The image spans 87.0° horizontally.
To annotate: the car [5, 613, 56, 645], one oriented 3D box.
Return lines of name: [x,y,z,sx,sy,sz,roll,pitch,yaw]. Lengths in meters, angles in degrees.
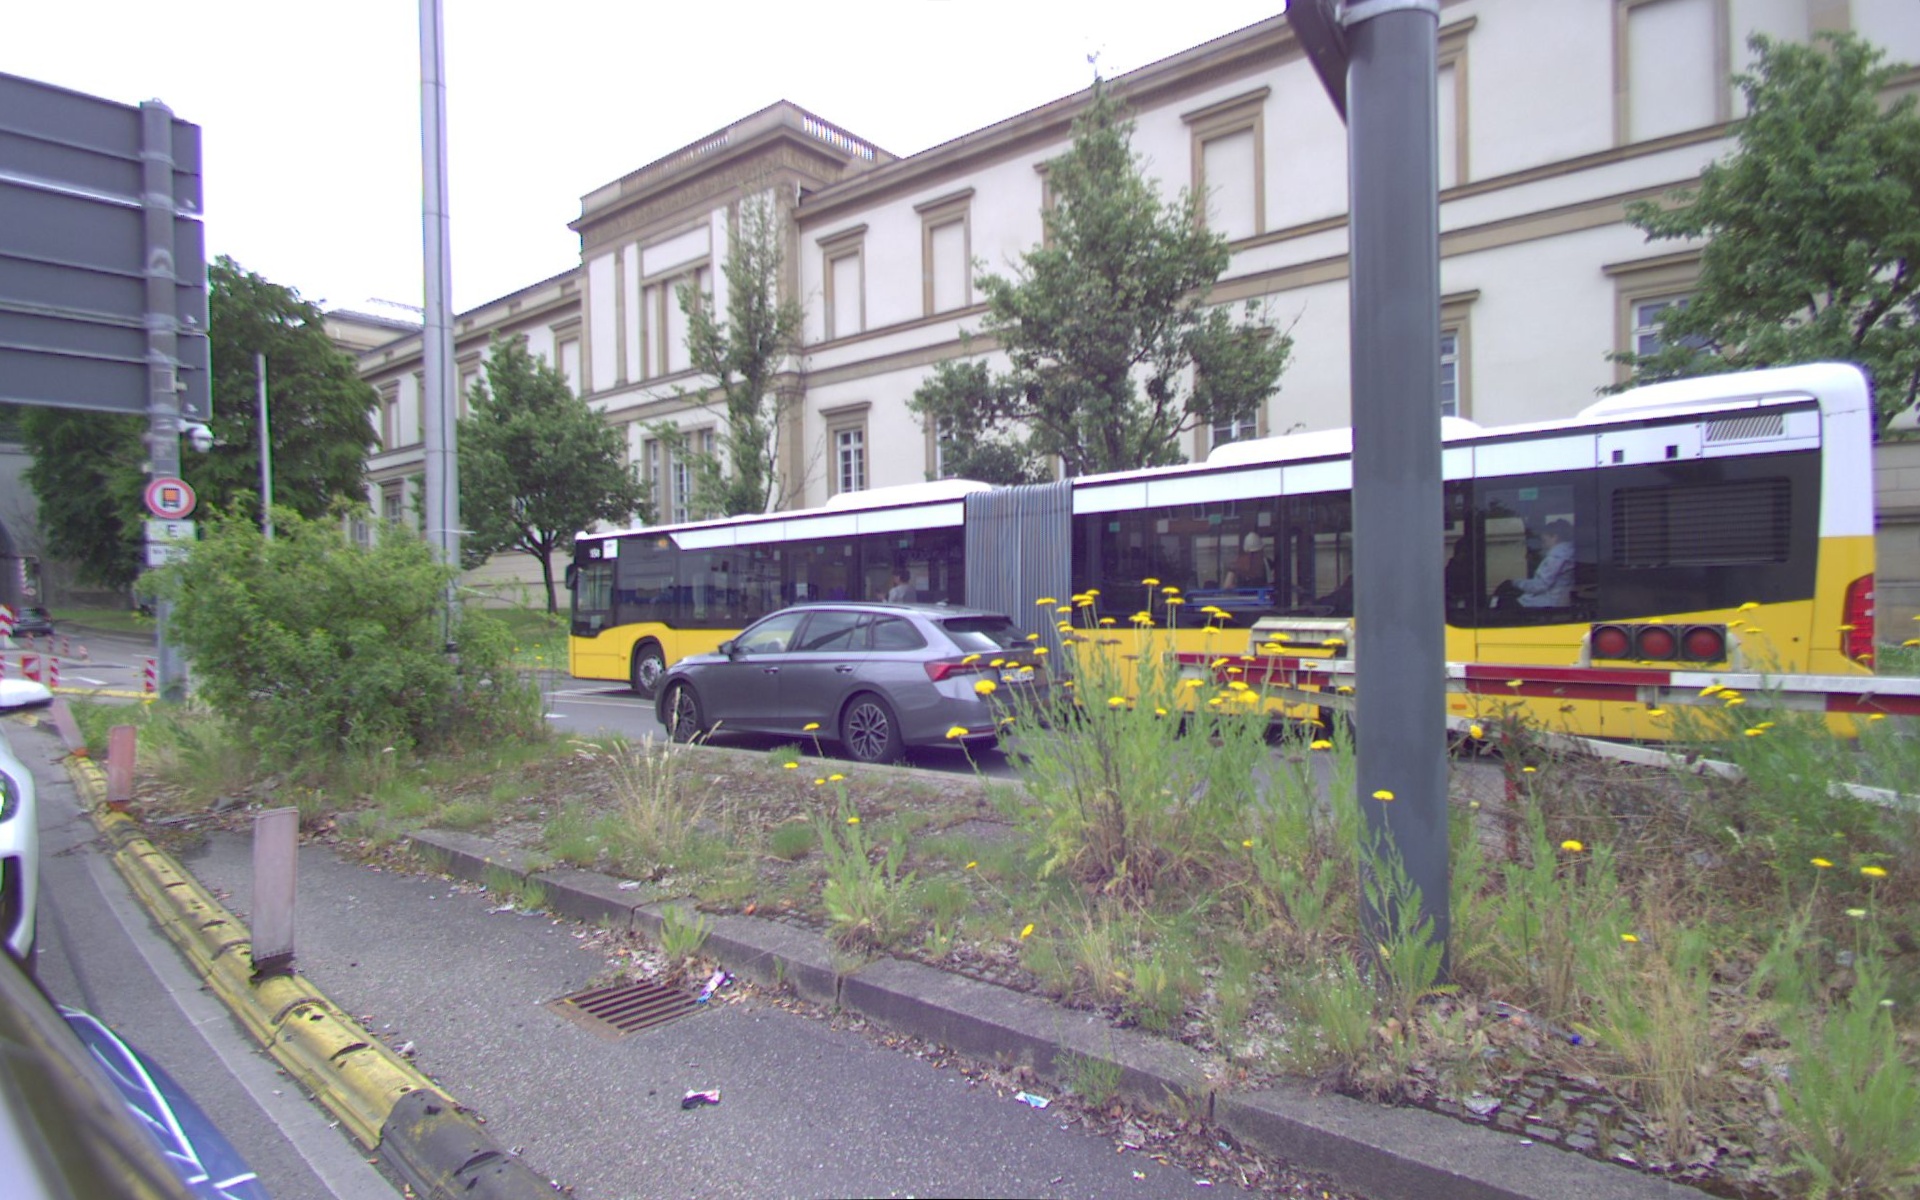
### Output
car: [-48.393,1.482,52.667,3.881,1.603,1.645,-2,-1,42]

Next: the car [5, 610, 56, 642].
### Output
car: [-48.091,1.347,52.370,2.820,1.563,1.520,-1,-1,38]

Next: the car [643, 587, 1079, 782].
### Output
car: [-1.103,0.718,9.923,4.282,1.525,1.690,-1,-2,38]

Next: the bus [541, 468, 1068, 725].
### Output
bus: [-3.094,0.025,16.610,9.741,3.137,2.817,-1,0,40]

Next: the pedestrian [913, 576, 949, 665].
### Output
pedestrian: [-0.569,0.397,19.954,0.578,1.708,0.460,-1,0,-15]

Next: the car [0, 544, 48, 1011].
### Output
car: [-5.268,0.664,4.195,3.881,1.603,1.824,-2,0,42]

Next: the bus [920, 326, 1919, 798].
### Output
bus: [3.907,-0.186,10.672,9.115,3.137,2.817,-1,0,40]
